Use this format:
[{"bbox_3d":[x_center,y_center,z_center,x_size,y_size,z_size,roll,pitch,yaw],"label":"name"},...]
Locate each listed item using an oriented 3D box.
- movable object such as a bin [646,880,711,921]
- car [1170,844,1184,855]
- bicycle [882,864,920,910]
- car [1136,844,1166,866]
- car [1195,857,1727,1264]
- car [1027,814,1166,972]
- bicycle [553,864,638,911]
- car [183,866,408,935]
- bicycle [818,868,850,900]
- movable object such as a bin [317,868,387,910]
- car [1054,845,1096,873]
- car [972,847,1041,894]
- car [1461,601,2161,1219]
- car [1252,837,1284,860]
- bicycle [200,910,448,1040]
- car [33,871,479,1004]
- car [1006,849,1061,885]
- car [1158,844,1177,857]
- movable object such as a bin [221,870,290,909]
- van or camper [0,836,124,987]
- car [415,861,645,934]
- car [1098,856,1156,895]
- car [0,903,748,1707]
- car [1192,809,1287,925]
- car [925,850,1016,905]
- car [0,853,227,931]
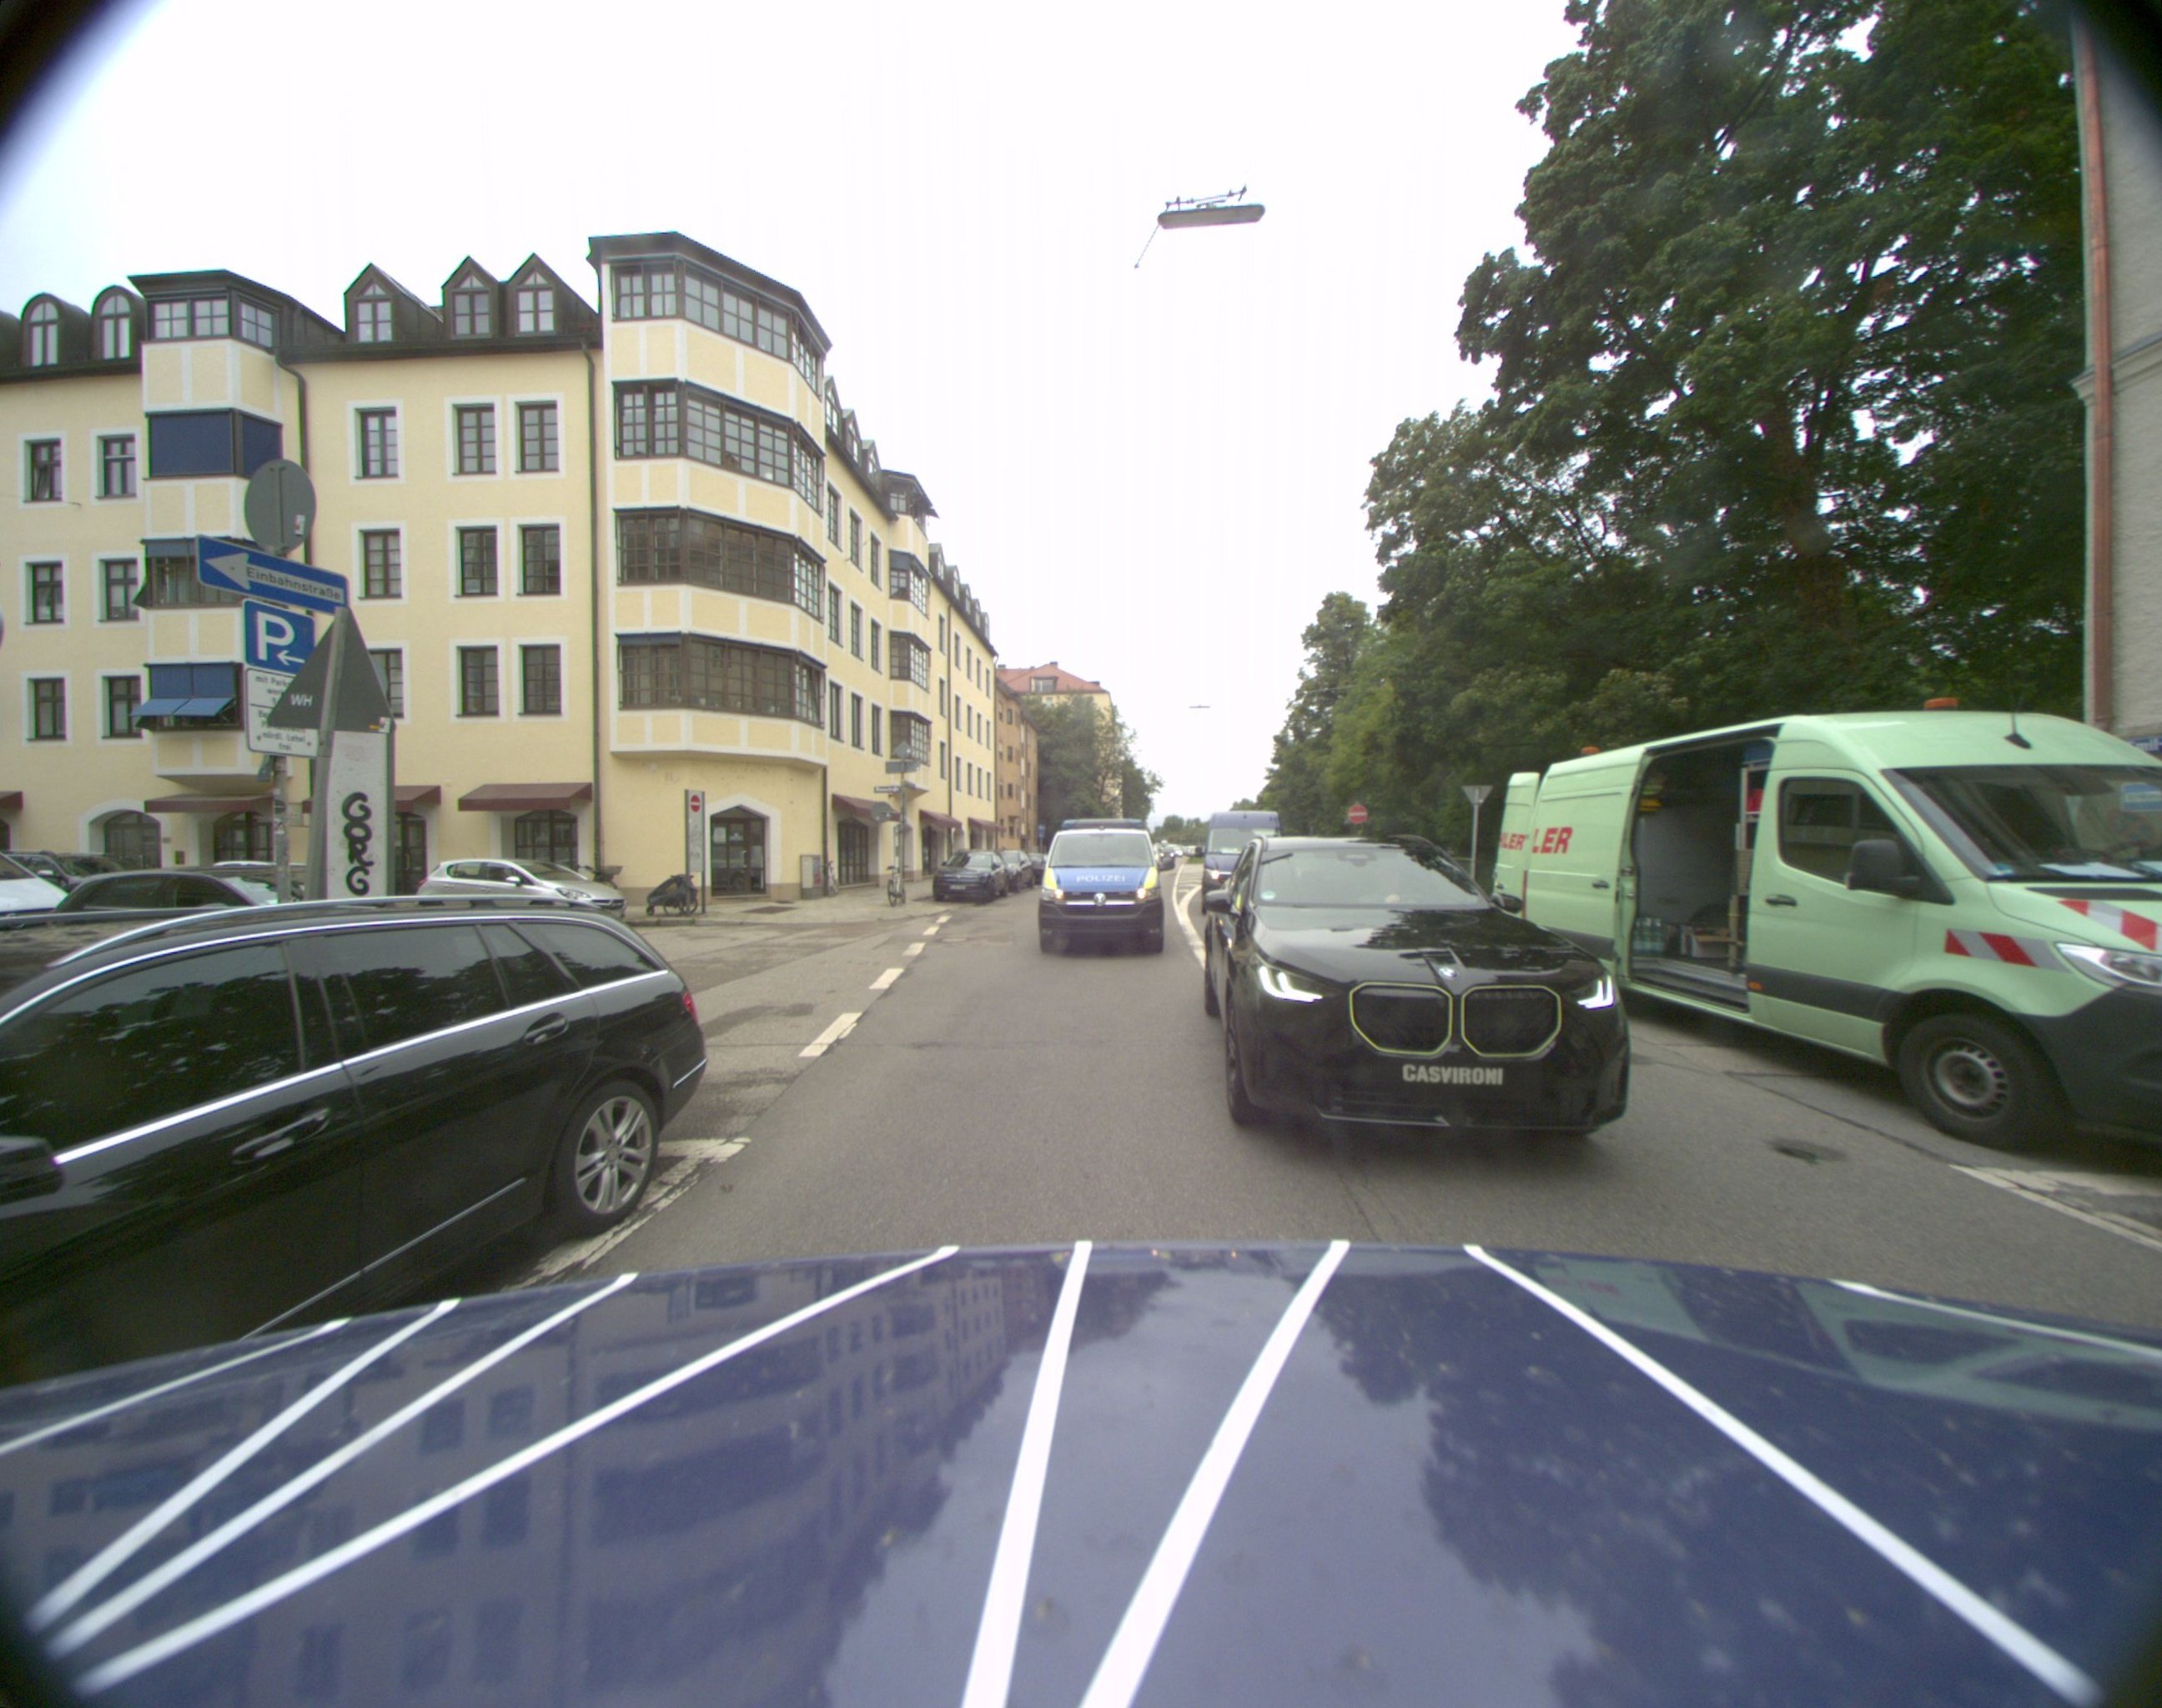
[{"bbox_3d":[-9.366,1.065,17.716,1.125,0.895,0.684,0,1,4],"label":"movable object such as a bin"},{"bbox_3d":[13.685,-0.662,108.471,1.836,1.390,4.002,1,1,9],"label":"car"},{"bbox_3d":[-5.083,0.904,21.518,0.430,1.152,2.053,1,2,5],"label":"bicycle"},{"bbox_3d":[5.467,0.057,58.894,1.997,1.587,4.002,1,1,9],"label":"car"},{"bbox_3d":[1.882,0.860,5.339,1.920,1.557,4.295,0,1,6],"label":"car"},{"bbox_3d":[0.495,0.508,13.117,1.826,2.087,5.635,-2,1,6],"label":"car"},{"bbox_3d":[-12.492,0.852,19.569,1.904,1.180,0.515,0,1,4],"label":"bicycle"},{"bbox_3d":[-17.107,0.966,16.633,3.451,1.330,1.640,1,2,7],"label":"car"},{"bbox_3d":[-7.718,0.914,23.805,0.262,0.897,1.696,4,2,6],"label":"bicycle"},{"bbox_3d":[-19.331,0.915,20.157,1.125,1.075,0.767,0,1,4],"label":"movable object such as a bin"},{"bbox_3d":[-0.314,0.281,48.529,1.882,1.642,5.619,1,1,8],"label":"car"},{"bbox_3d":[-2.920,0.595,30.693,1.816,1.580,4.165,4,2,7],"label":"car"},{"bbox_3d":[5.751,0.192,6.332,2.146,2.557,6.795,-1,1,4],"label":"car"},{"bbox_3d":[13.061,-0.406,52.857,1.815,1.455,4.169,4,2,17],"label":"car"},{"bbox_3d":[-7.312,1.112,7.483,0.496,0.999,1.804,1,0,6],"label":"bicycle"},{"bbox_3d":[-10.540,1.002,9.931,3.881,1.479,1.892,0,1,4],"label":"car"},{"bbox_3d":[-2.152,0.573,35.765,1.763,1.514,3.934,1,1,9],"label":"car"},{"bbox_3d":[9.353,-0.374,81.641,1.836,1.390,4.002,1,1,9],"label":"car"},{"bbox_3d":[-22.089,0.944,20.346,1.125,1.008,0.684,0,2,4],"label":"movable object such as a bin"},{"bbox_3d":[-16.303,0.760,10.095,4.910,1.909,1.961,0,3,5],"label":"van or camper"},{"bbox_3d":[-11.593,0.897,16.113,3.741,1.431,1.753,0,-2,7],"label":"car"},{"bbox_3d":[1.707,0.743,27.170,1.494,1.207,3.614,-1,1,12],"label":"car"},{"bbox_3d":[-2.979,1.022,1.993,1.851,1.397,4.788,-1,1,3],"label":"car"},{"bbox_3d":[4.214,0.199,19.531,2.003,2.477,6.238,0,2,14],"label":"car"},{"bbox_3d":[-3.569,0.709,25.484,2.111,1.613,4.497,0,1,4],"label":"car"},{"bbox_3d":[-22.115,0.806,16.980,4.024,1.575,1.985,0,1,6],"label":"car"}]
